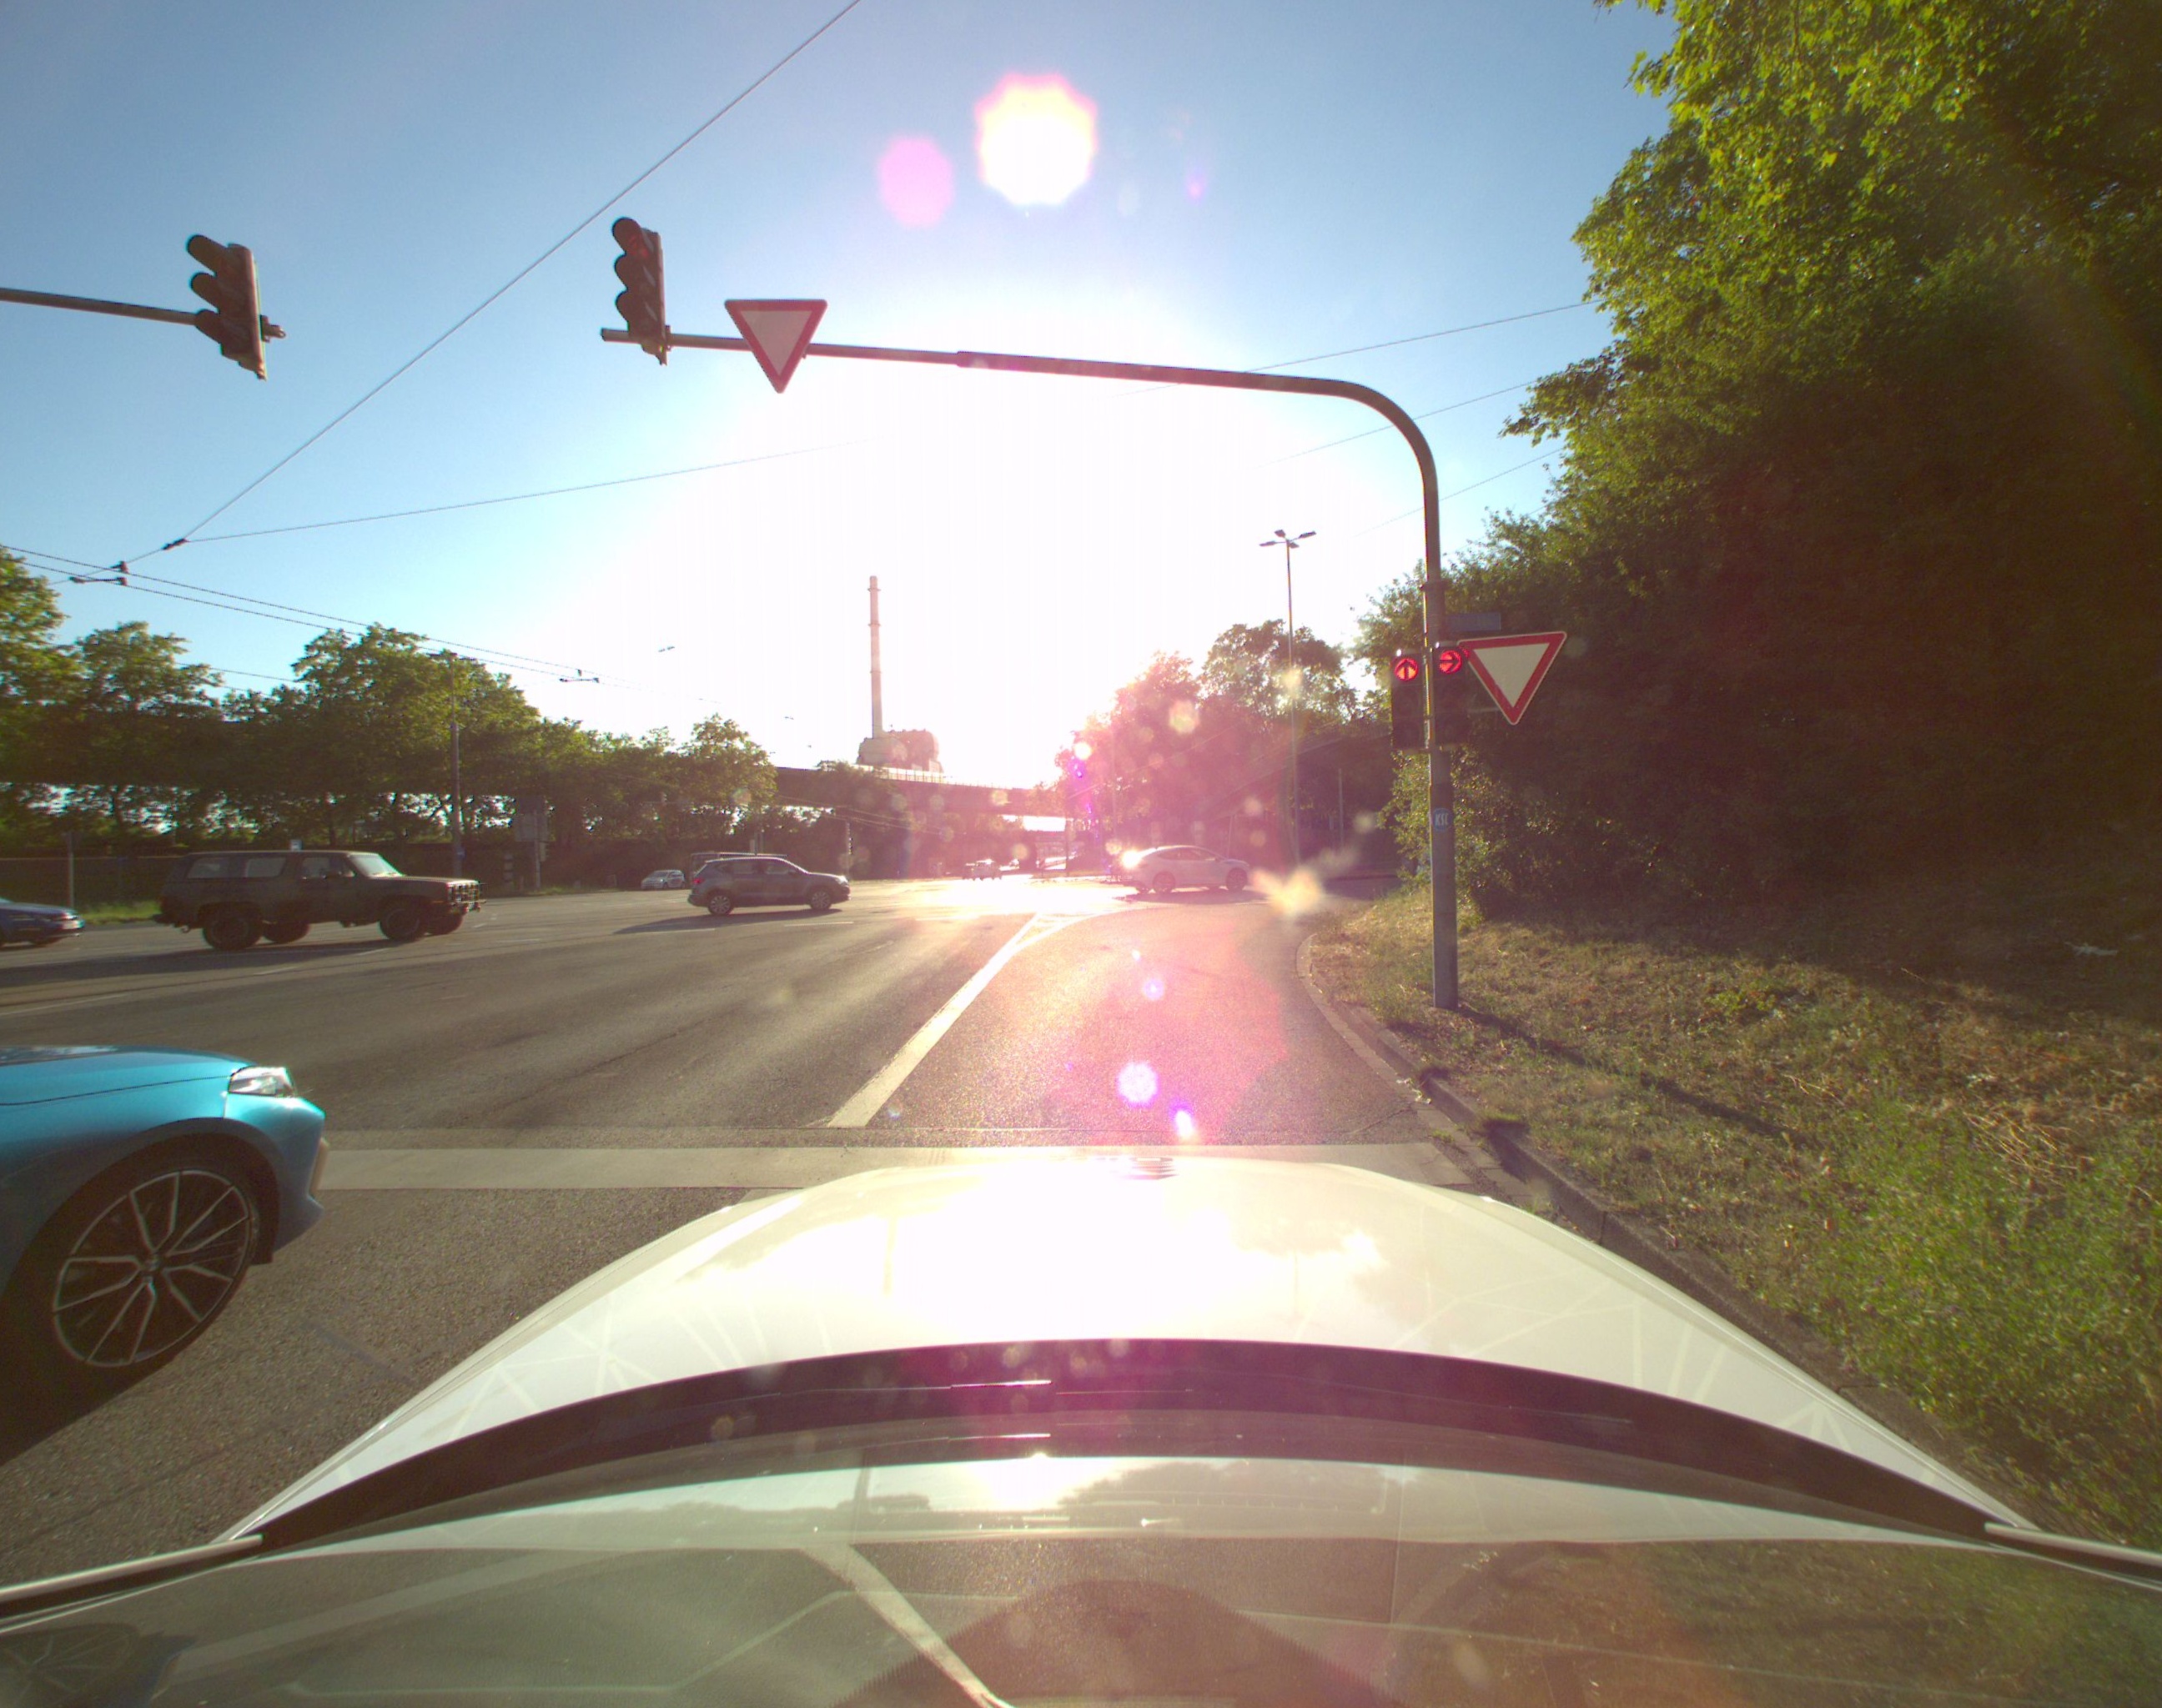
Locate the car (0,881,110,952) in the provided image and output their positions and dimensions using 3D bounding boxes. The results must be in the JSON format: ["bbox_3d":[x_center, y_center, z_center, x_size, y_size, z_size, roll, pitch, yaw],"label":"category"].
[{"bbox_3d":[-24.565,1.383,17.396,4.628,1.458,1.681,-1,0,-22],"label":"car"}]

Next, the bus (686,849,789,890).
[{"bbox_3d":[-29.499,1.383,70.781,2.532,3.130,12.931,-2,-2,4],"label":"bus"}]

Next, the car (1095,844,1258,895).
[{"bbox_3d":[3.300,0.497,28.114,5.366,1.575,1.729,-1,0,-19],"label":"car"}]

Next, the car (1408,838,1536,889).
[{"bbox_3d":[13.255,0.298,27.611,4.003,1.575,1.681,-1,0,-23],"label":"car"}]

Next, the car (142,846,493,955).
[{"bbox_3d":[-15.675,0.880,17.144,4.945,1.991,2.023,-1,0,-20],"label":"car"}]

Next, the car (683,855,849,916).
[{"bbox_3d":[-8.903,0.854,23.293,4.250,1.575,1.682,-1,0,-20],"label":"car"}]

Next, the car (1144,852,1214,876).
[{"bbox_3d":[6.879,0.672,57.161,4.585,1.575,1.685,-1,0,-16],"label":"car"}]

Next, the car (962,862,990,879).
[{"bbox_3d":[-9.592,1.469,74.574,1.657,1.405,4.451,-1,0,5],"label":"car"}]

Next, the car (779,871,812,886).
[{"bbox_3d":[-28.567,2.456,81.600,1.600,1.419,4.012,-1,0,3],"label":"car"}]

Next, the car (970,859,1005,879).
[{"bbox_3d":[-6.997,1.088,61.350,1.656,1.405,4.205,-1,0,7],"label":"car"}]

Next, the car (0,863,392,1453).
[{"bbox_3d":[-3.567,0.797,1.098,1.709,1.466,4.205,-2,0,-1],"label":"car"}]

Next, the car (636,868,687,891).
[{"bbox_3d":[-30.135,1.788,58.625,1.601,1.512,4.007,-1,0,0],"label":"car"}]
